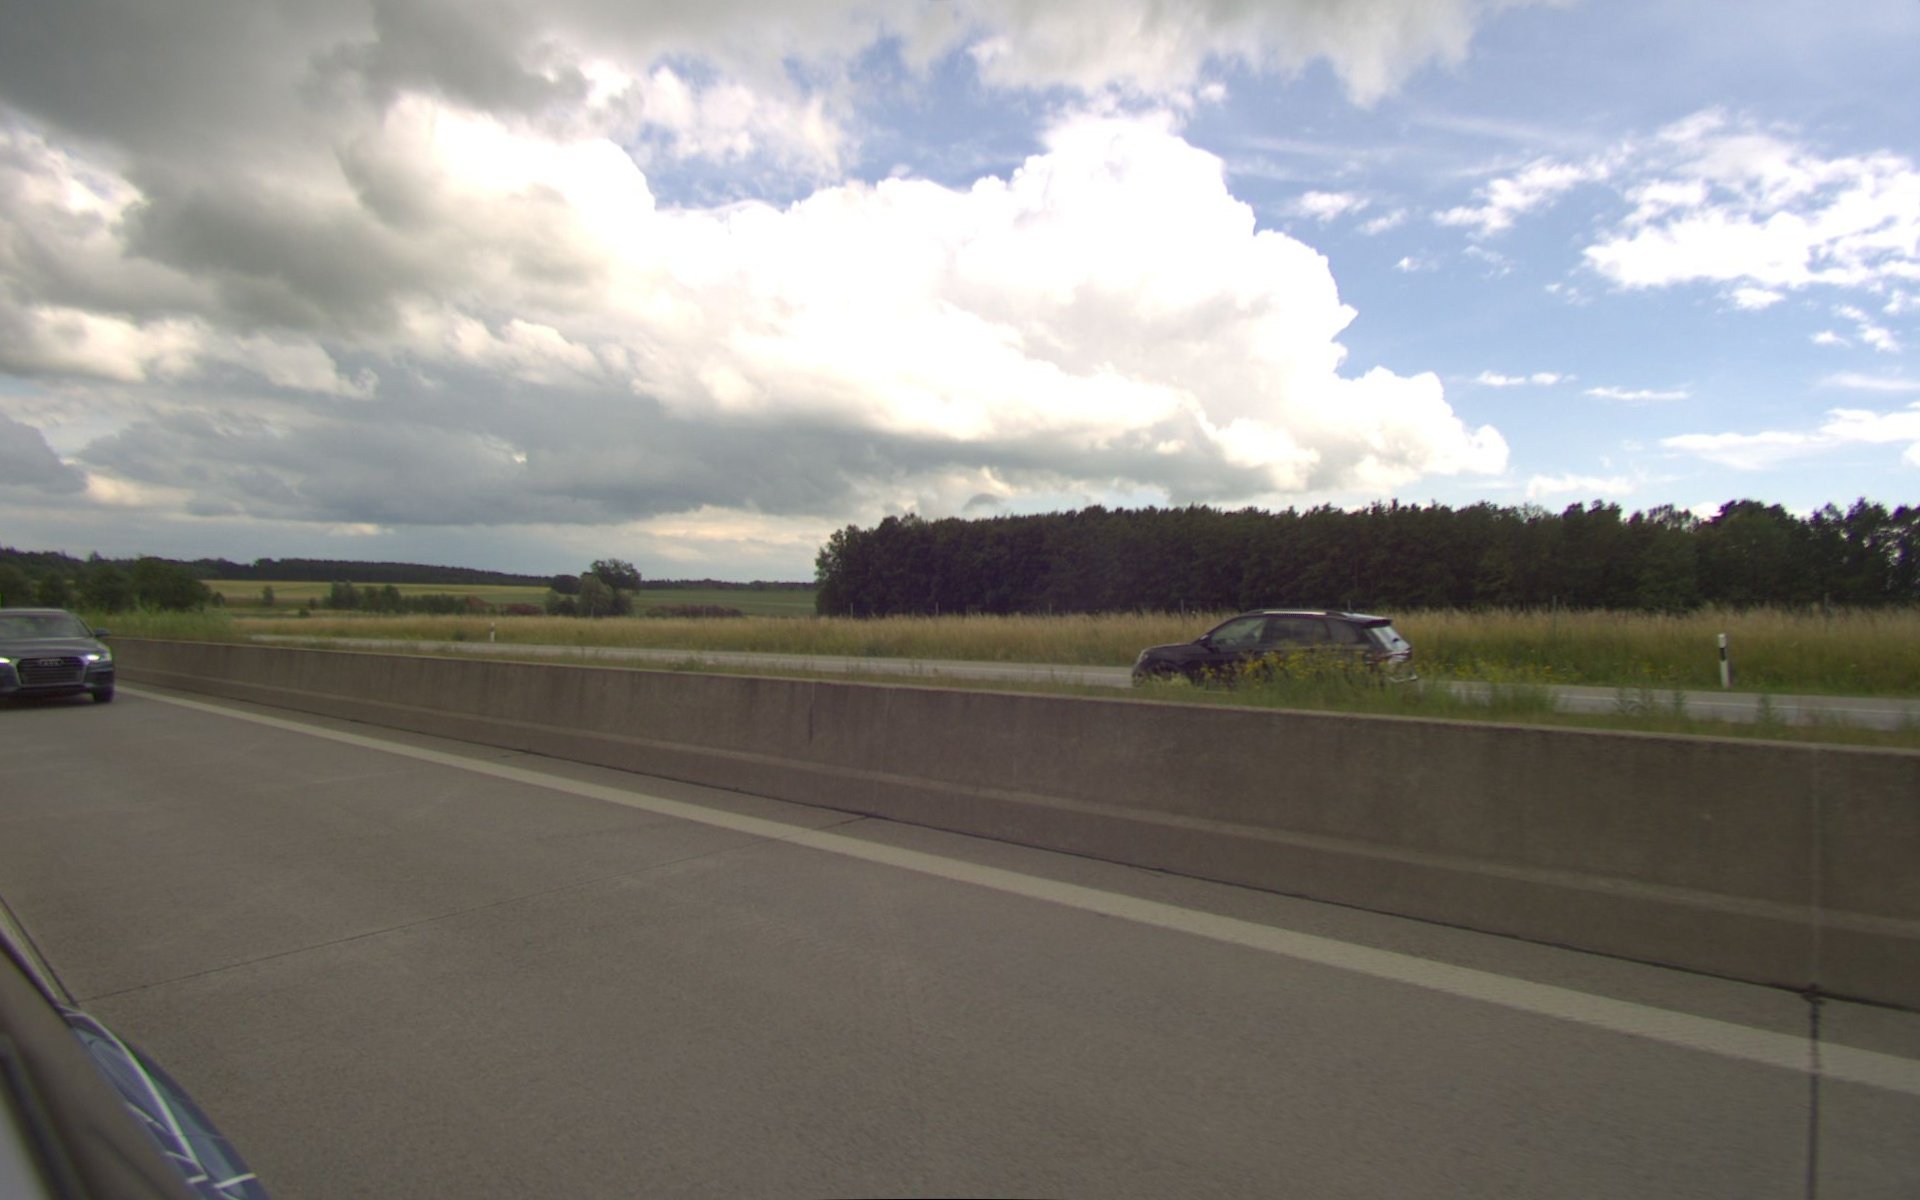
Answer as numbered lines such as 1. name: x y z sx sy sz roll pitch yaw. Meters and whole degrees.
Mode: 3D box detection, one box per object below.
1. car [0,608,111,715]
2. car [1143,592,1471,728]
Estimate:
1. car: -16.123 0.963 17.337 5.156 1.608 1.773 -1 0 43
2. car: 4.941 0.781 14.686 4.061 1.697 1.973 -1 -1 41
